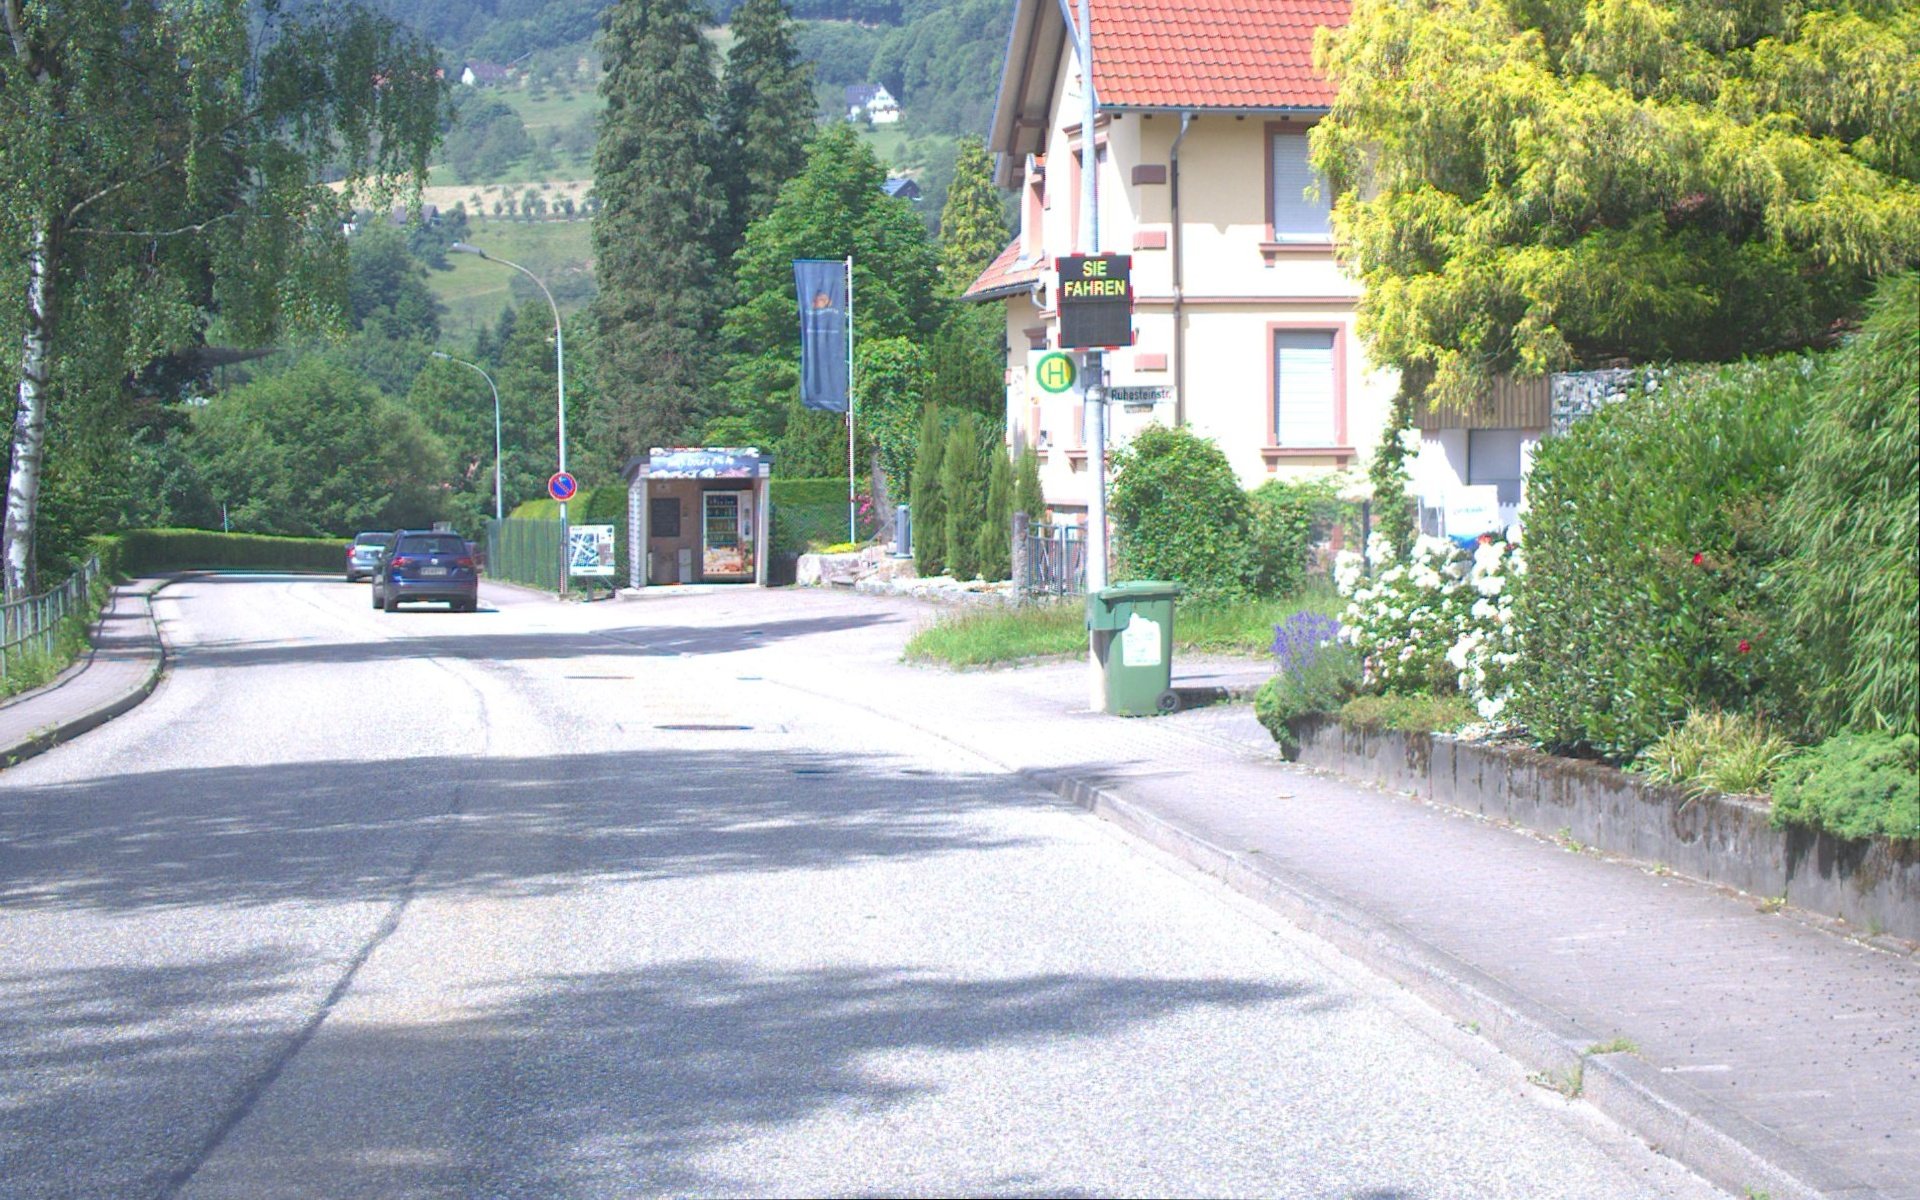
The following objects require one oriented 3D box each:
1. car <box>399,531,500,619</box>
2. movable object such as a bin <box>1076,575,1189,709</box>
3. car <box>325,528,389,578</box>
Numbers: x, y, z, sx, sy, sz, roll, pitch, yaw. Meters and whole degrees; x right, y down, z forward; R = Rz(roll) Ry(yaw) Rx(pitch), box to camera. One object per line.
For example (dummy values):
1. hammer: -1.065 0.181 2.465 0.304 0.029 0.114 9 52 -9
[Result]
1. car: -10.263 -0.520 69.055 1.919 1.692 3.789 -1 1 -9
2. movable object such as a bin: 1.387 0.330 27.727 0.809 1.039 0.579 -1 1 -7
3. car: -17.505 -1.366 99.903 1.628 1.417 3.399 0 1 -7
